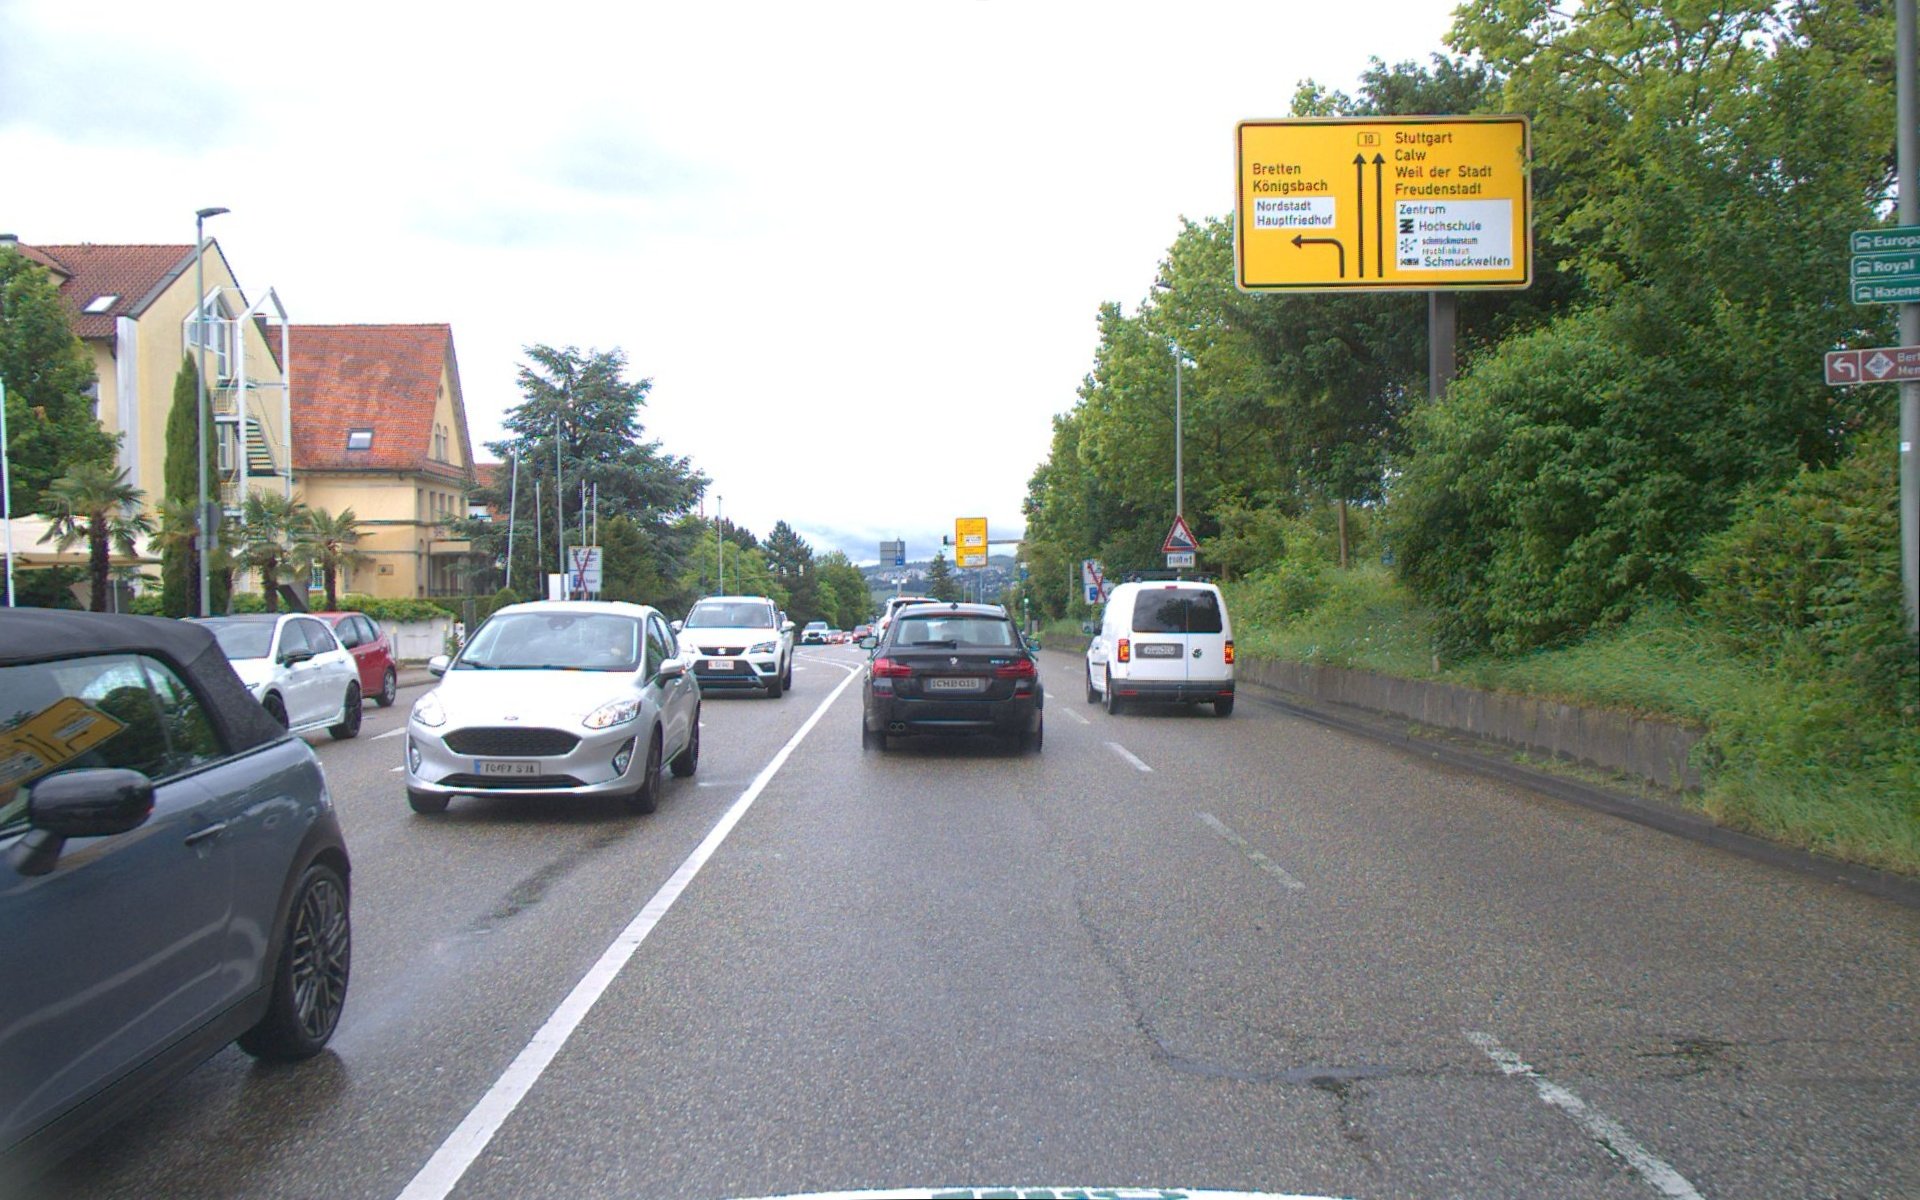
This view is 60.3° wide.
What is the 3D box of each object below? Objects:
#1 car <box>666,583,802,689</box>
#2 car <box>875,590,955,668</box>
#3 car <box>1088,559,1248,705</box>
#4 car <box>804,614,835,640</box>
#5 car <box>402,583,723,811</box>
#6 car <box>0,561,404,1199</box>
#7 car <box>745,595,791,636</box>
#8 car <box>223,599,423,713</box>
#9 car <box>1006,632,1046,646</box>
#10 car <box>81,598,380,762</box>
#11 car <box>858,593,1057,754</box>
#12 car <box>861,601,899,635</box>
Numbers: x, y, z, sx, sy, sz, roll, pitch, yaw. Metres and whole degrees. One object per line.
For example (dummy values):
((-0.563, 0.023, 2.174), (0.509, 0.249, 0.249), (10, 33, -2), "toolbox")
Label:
((-3.670, 0.575, 27.494), (1.751, 1.609, 4.238), (0, -1, -1), "car")
((-1.040, 0.656, 39.985), (1.830, 1.702, 4.000), (0, 1, 0), "car")
((2.883, 0.380, 23.642), (1.729, 1.910, 3.805), (0, 1, -1), "car")
((-10.517, 2.008, 124.082), (1.878, 1.793, 5.142), (-3, -1, 0), "car")
((-2.851, 0.621, 12.667), (1.569, 1.466, 3.947), (0, 0, -1), "car")
((-2.765, 0.639, 4.010), (1.569, 1.466, 3.948), (0, 1, -1), "car")
((-7.405, 0.609, 63.825), (1.716, 1.534, 4.295), (-1, -1, -7), "car")
((-9.798, 0.812, 25.755), (1.604, 1.560, 3.970), (-3, 0, -1), "car")
((6.504, 3.818, 162.459), (3.903, 1.401, 1.586), (0, -1, 3), "car")
((-7.553, 0.763, 17.546), (1.605, 1.503, 4.041), (-1, 0, -4), "car")
((-0.029, 0.683, 17.566), (1.860, 1.466, 4.000), (0, 1, 0), "car")
((-4.310, 0.935, 89.674), (1.830, 1.702, 4.000), (0, 1, 0), "car")
